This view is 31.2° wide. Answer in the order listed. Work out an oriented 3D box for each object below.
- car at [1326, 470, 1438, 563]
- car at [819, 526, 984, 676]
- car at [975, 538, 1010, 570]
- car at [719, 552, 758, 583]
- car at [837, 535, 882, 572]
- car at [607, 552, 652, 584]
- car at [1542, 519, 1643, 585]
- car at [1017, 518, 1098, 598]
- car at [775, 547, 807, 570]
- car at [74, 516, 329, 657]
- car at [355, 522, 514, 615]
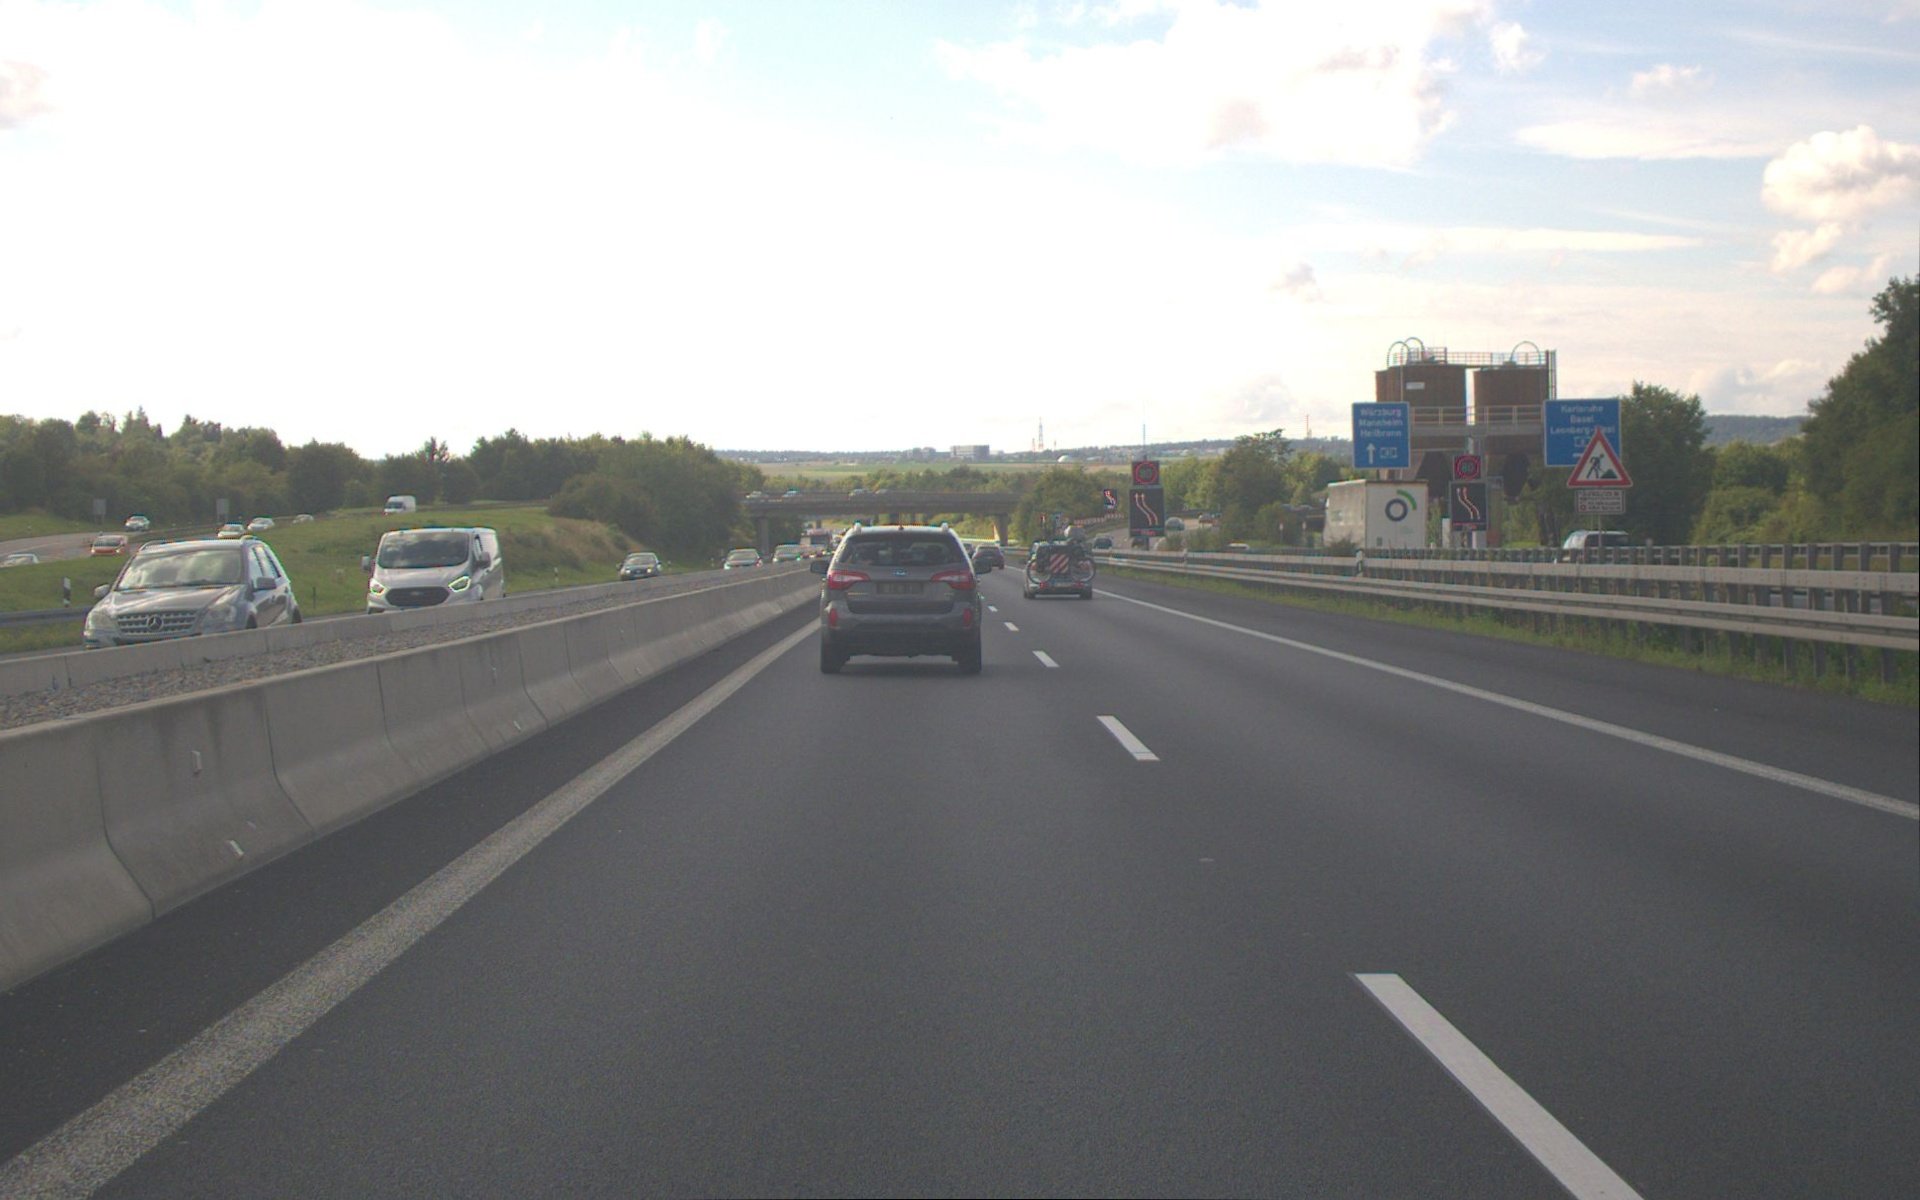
[{"bbox_3d":[17.597,-3.470,143.957,3.576,3.664,7.549,-2,1,0],"label":"car"},{"bbox_3d":[-0.644,-0.017,40.345,1.750,1.624,3.609,-2,1,1],"label":"car"},{"bbox_3d":[1.929,-2.740,204.520,1.975,1.773,4.120,-2,1,-1],"label":"car"},{"bbox_3d":[-10.649,-1.564,165.619,1.641,1.393,3.742,-2,1,-1],"label":"car"},{"bbox_3d":[-5.346,-2.498,184.043,2.169,1.837,4.000,-2,1,1],"label":"car"},{"bbox_3d":[-15.446,-1.512,160.889,1.727,1.393,4.158,-2,1,-1],"label":"car"},{"bbox_3d":[17.612,-1.336,95.921,1.993,1.711,4.000,-2,1,0],"label":"car"},{"bbox_3d":[2.635,-1.152,93.956,1.993,2.073,4.000,-2,1,0],"label":"car"},{"bbox_3d":[-10.518,-2.590,214.492,1.787,1.393,4.725,-2,1,-1],"label":"car"},{"bbox_3d":[-9.097,-0.193,41.652,1.993,1.527,5.022,-2,1,-1],"label":"car"},{"bbox_3d":[-9.368,-0.584,61.753,1.993,1.527,5.748,-2,1,-1],"label":"car"}]
